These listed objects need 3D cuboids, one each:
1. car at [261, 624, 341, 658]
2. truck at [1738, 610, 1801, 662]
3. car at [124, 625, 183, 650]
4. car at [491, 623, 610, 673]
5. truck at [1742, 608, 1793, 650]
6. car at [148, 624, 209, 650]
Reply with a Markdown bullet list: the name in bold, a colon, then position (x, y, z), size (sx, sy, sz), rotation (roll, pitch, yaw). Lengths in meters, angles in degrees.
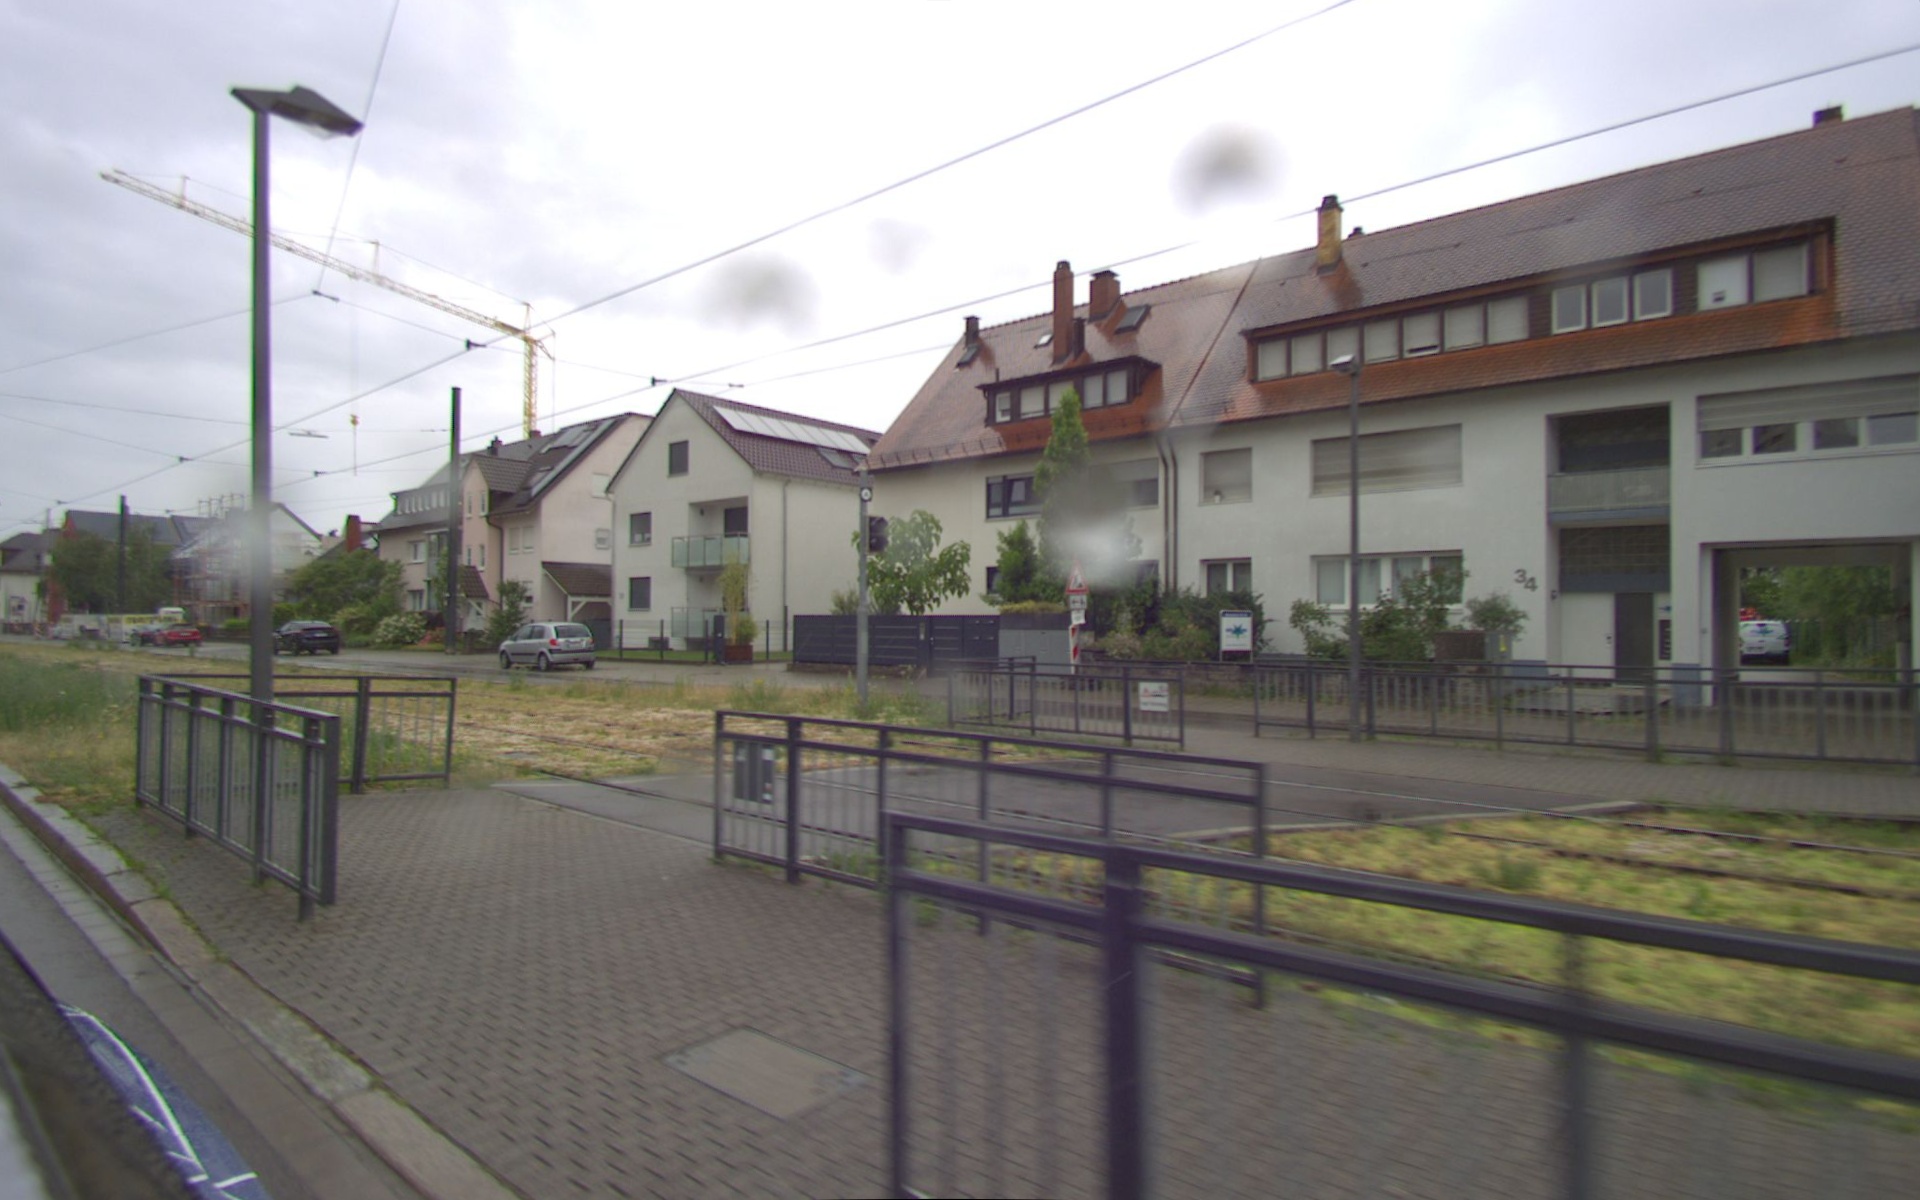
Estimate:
- **car**: position (-29.895, 1.846, 45.858), size (4.169, 1.437, 1.819), rotation (-2, -1, 39)
- **truck**: position (34.820, 1.490, 43.593), size (1.998, 2.029, 5.754), rotation (0, 0, 38)
- **car**: position (-49.827, 2.300, 62.496), size (4.169, 1.420, 1.974), rotation (-3, -2, 39)
- **car**: position (-13.025, 1.479, 32.149), size (3.654, 1.424, 1.974), rotation (0, 0, 39)
- **truck**: position (42.117, 1.464, 52.824), size (1.998, 2.029, 5.754), rotation (0, 0, 38)
- **car**: position (-45.808, 2.124, 59.327), size (3.839, 1.383, 1.974), rotation (0, 0, 39)
